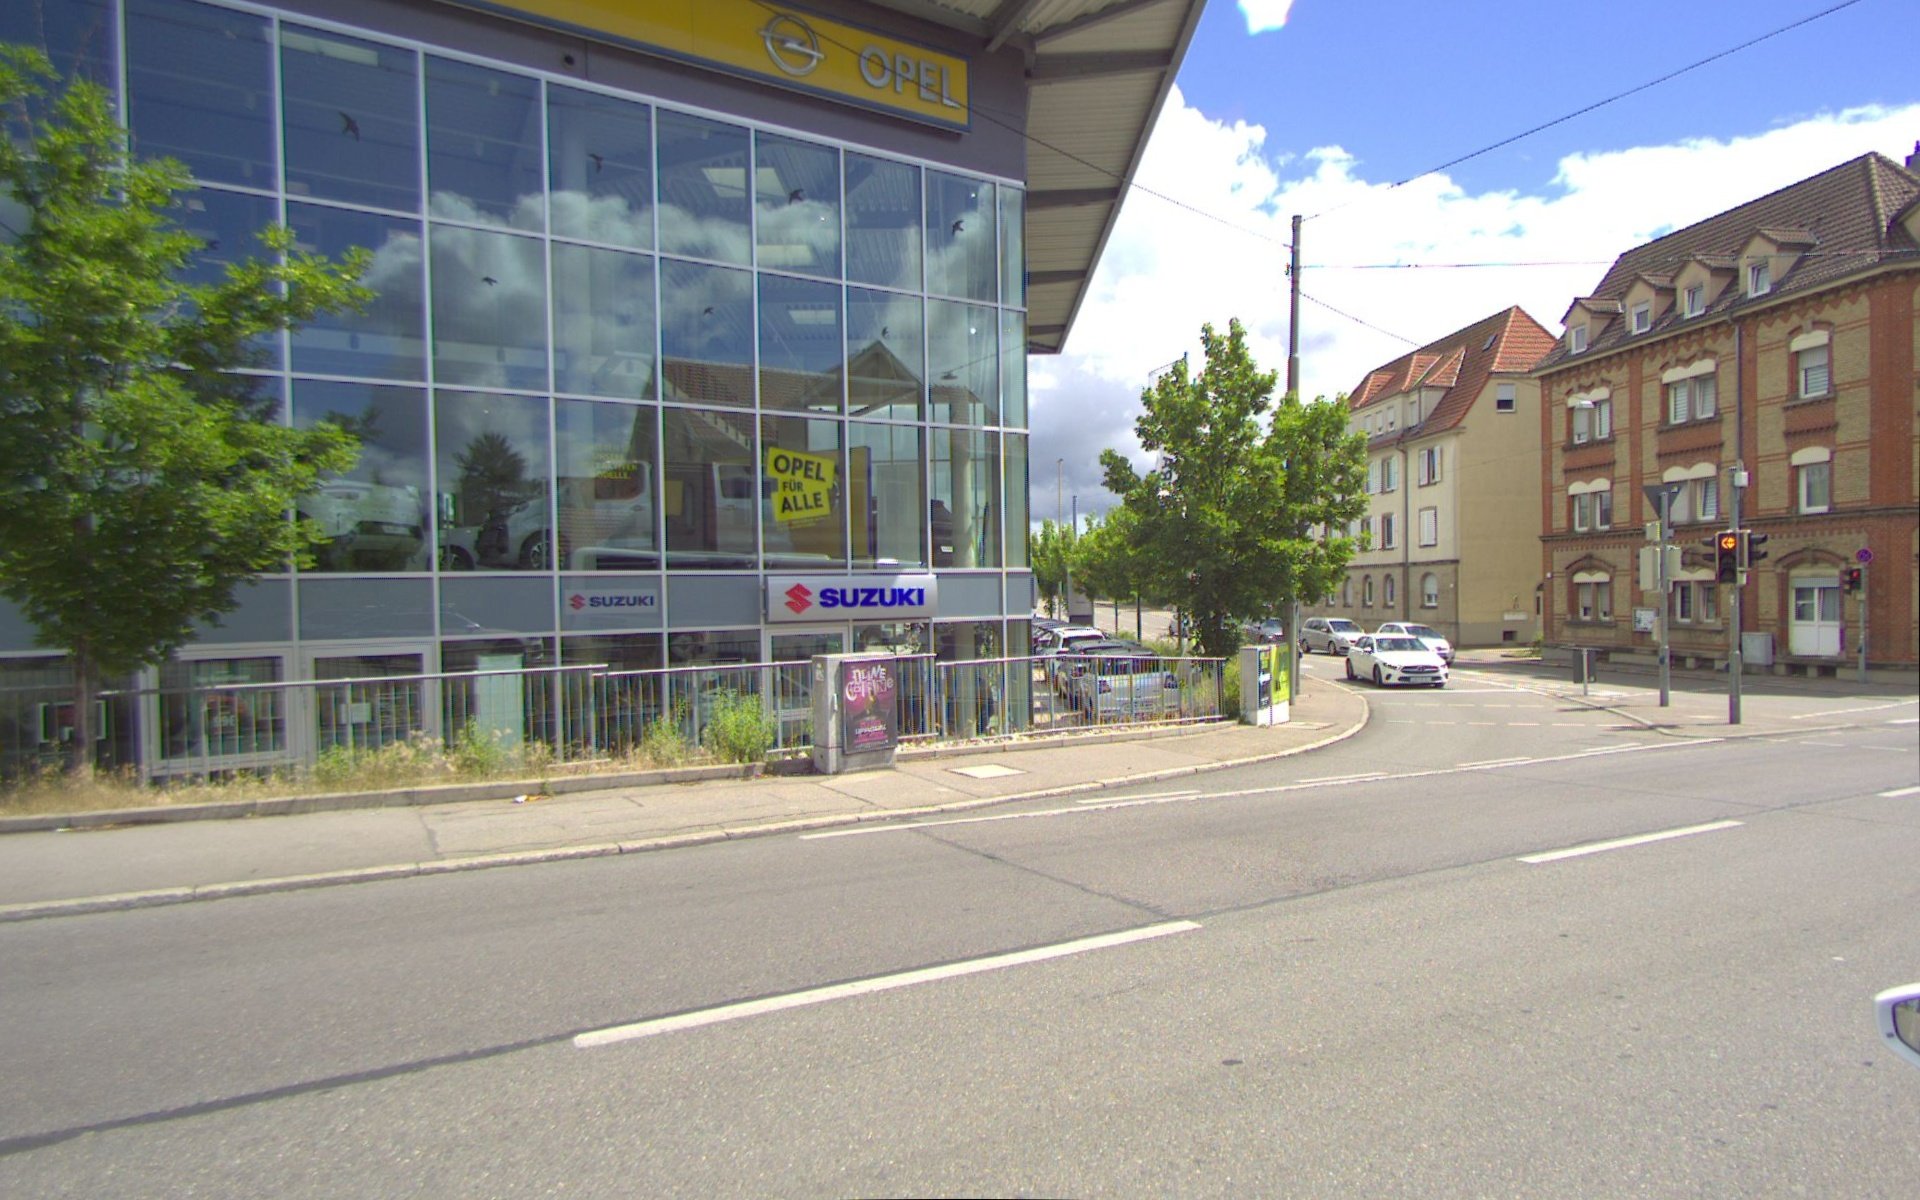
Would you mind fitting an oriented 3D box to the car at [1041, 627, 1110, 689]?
[{"bbox_3d":[3.278,1.634,29.092,1.487,1.596,3.414,1,-1,-2],"label":"car"}]

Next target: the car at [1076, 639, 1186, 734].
[{"bbox_3d":[3.393,1.689,20.549,1.720,1.596,3.687,2,-1,3],"label":"car"}]

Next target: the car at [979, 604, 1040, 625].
[{"bbox_3d":[3.244,0.961,66.648,3.921,1.311,1.818,1,-1,0],"label":"car"}]

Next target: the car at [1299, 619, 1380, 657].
[{"bbox_3d":[16.735,1.645,44.510,1.715,1.539,3.996,1,-1,-7],"label":"car"}]

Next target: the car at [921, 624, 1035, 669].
[{"bbox_3d":[0.679,1.690,37.178,3.919,1.478,1.605,1,-1,15],"label":"car"}]

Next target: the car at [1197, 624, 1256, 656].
[{"bbox_3d":[14.834,2.199,56.109,1.961,1.607,4.345,1,0,-2],"label":"car"}]

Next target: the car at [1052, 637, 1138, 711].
[{"bbox_3d":[3.228,1.755,24.698,1.487,1.543,3.792,1,-1,-2],"label":"car"}]

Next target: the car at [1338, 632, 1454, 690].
[{"bbox_3d":[12.367,1.686,28.772,1.825,1.466,4.394,1,-1,6],"label":"car"}]

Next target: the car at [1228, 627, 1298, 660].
[{"bbox_3d":[15.333,2.188,51.017,1.963,1.539,3.996,1,-1,-7],"label":"car"}]

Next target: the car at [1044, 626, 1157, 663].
[{"bbox_3d":[5.165,1.635,37.208,3.921,1.202,1.818,1,-1,0],"label":"car"}]

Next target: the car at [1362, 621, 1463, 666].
[{"bbox_3d":[17.062,1.610,38.085,1.670,1.517,3.995,1,-1,-7],"label":"car"}]

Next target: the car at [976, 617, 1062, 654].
[{"bbox_3d":[2.648,1.587,45.867,1.974,1.599,4.476,1,-1,-26],"label":"car"}]
